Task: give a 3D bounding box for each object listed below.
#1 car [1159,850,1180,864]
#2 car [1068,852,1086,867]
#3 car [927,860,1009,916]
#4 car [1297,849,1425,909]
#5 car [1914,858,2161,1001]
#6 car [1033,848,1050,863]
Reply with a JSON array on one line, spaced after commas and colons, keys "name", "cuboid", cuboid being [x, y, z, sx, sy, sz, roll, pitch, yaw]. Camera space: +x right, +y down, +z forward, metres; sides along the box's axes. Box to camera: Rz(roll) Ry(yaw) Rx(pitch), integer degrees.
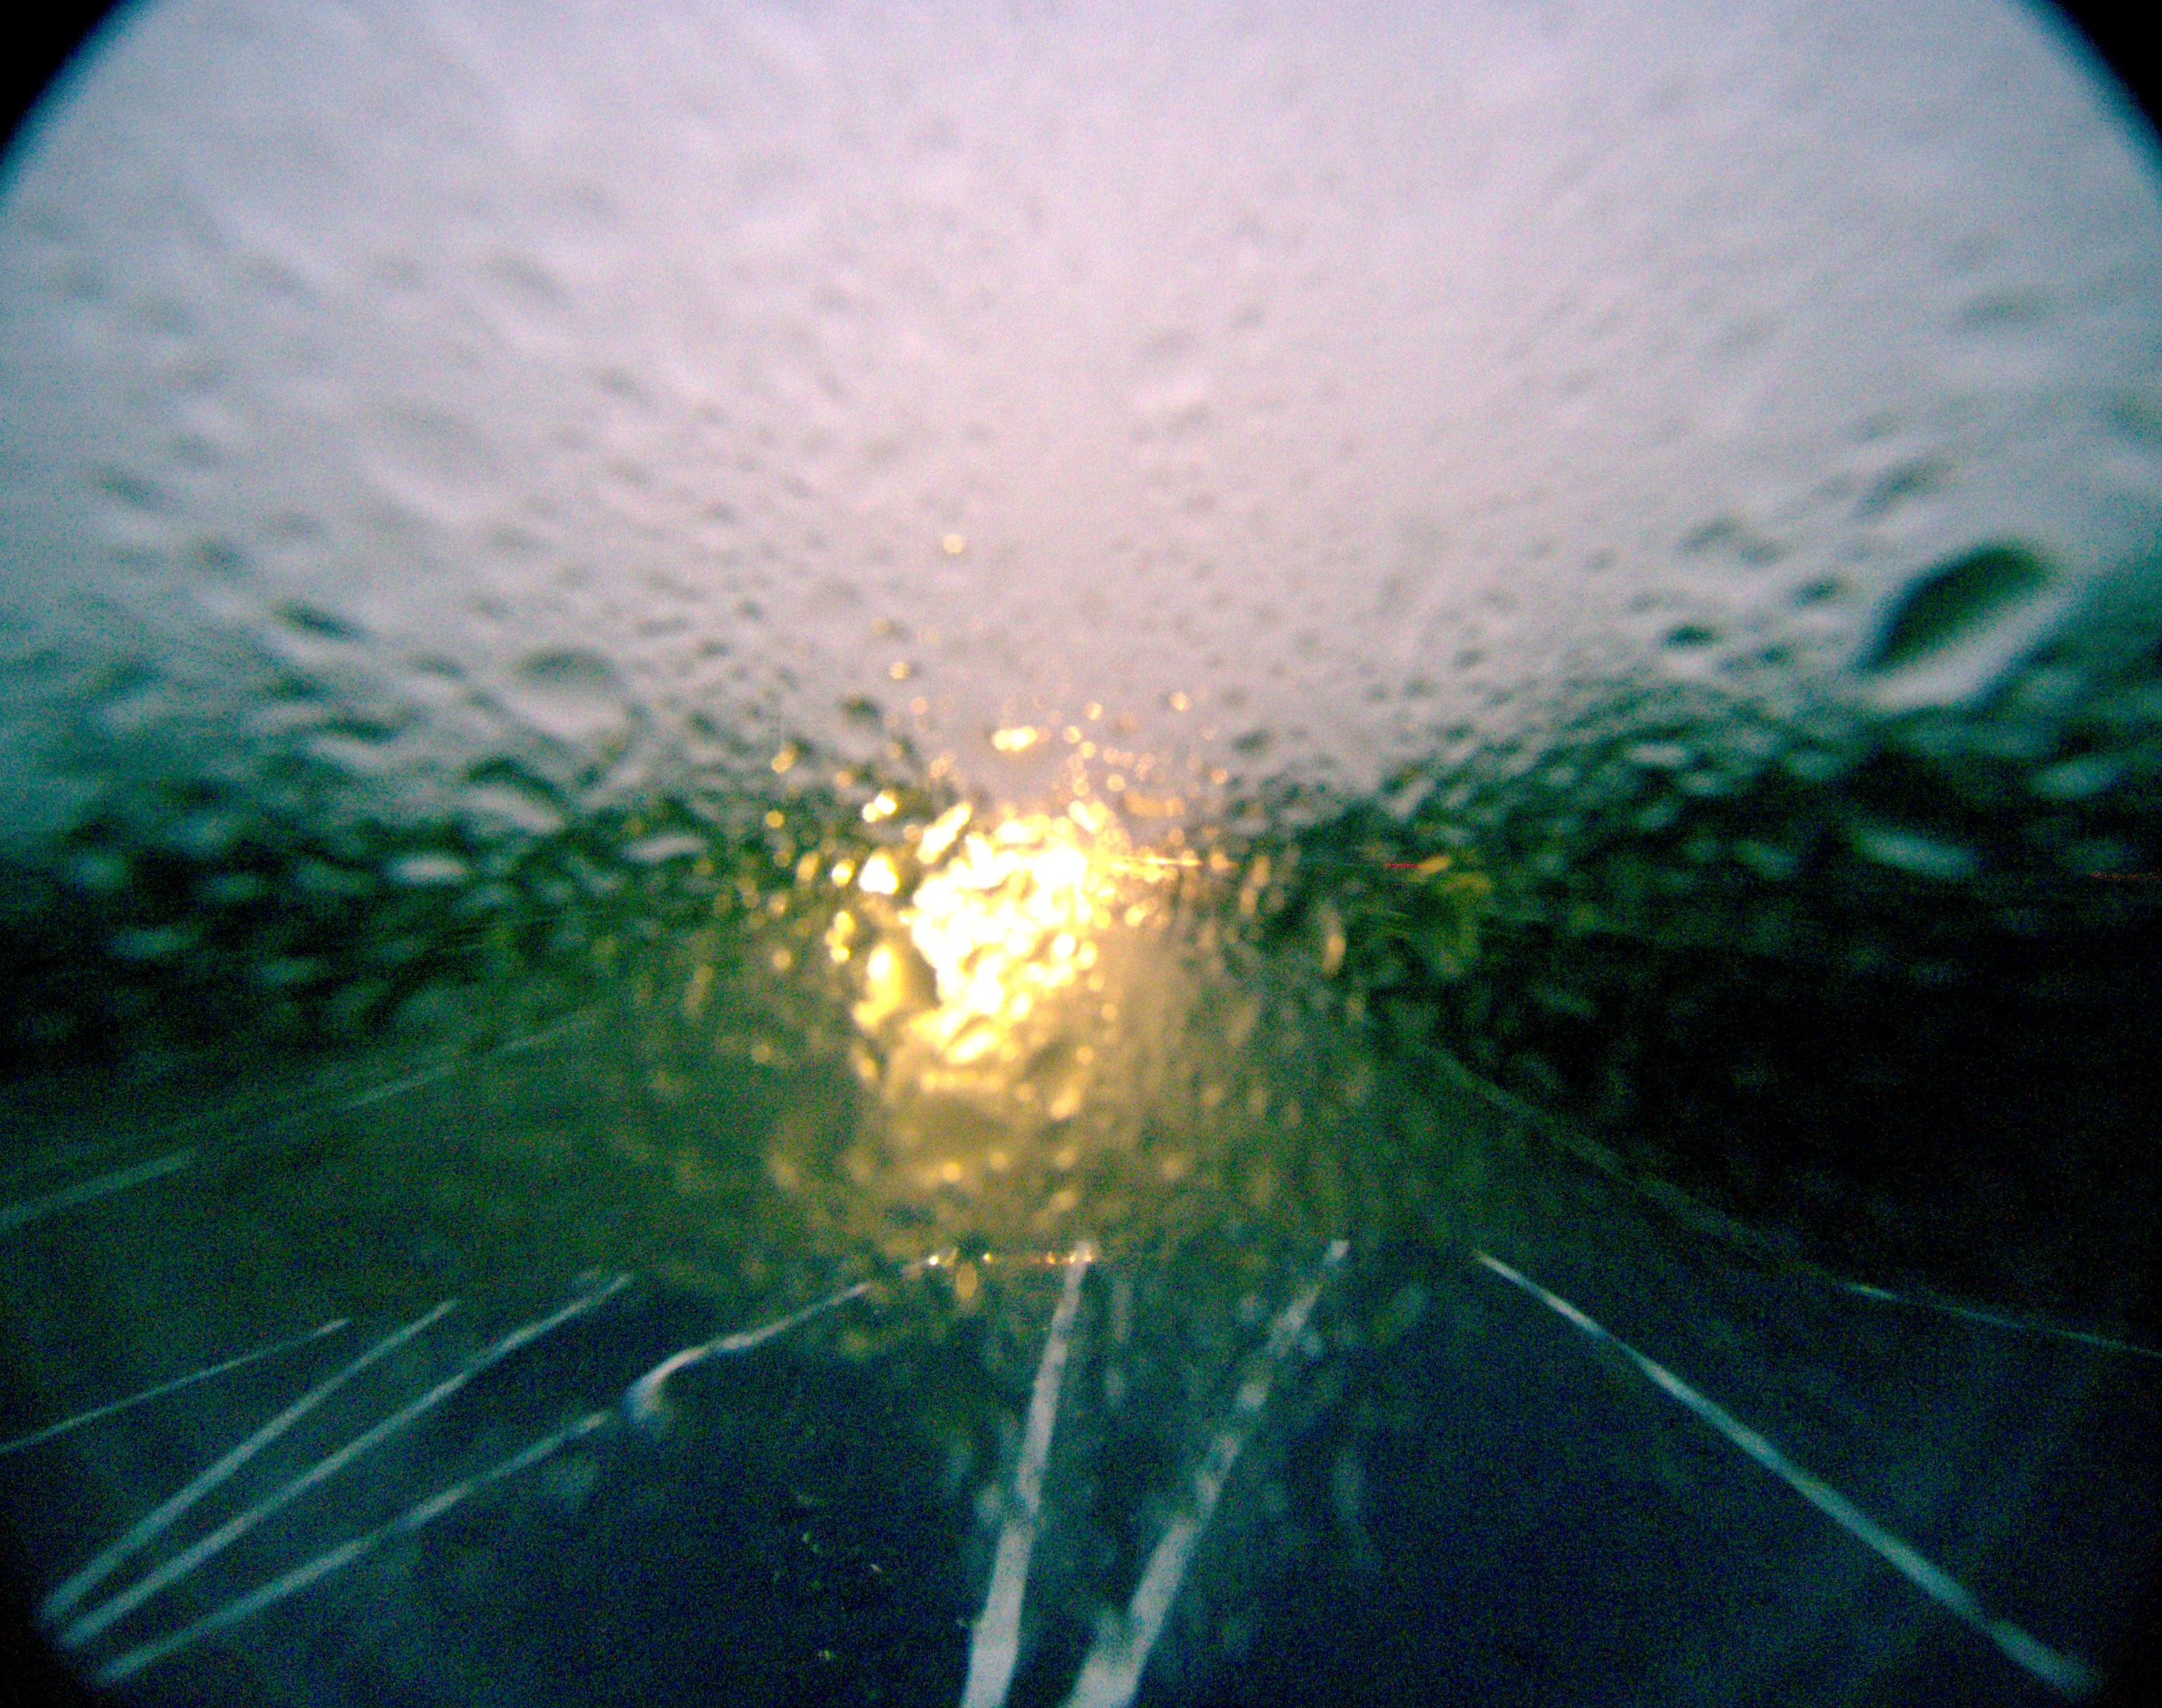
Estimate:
[{"name": "car", "cuboid": [10.161, 0.365, 87.620, 1.721, 1.415, 3.999, 6, 0, -1]}, {"name": "car", "cuboid": [-0.430, 0.589, 77.773, 1.632, 1.465, 3.999, -1, 0, -4]}, {"name": "car", "cuboid": [-3.331, 0.962, 23.128, 1.802, 1.494, 4.000, -2, 0, 0]}, {"name": "car", "cuboid": [8.051, 0.665, 22.345, 1.882, 1.415, 4.424, 6, 0, -1]}, {"name": "car", "cuboid": [11.748, 0.777, 8.190, 1.605, 1.415, 3.546, -1, 0, -1]}, {"name": "car", "cuboid": [-4.141, 0.149, 79.198, 1.632, 1.465, 3.999, -1, 0, -4]}]
